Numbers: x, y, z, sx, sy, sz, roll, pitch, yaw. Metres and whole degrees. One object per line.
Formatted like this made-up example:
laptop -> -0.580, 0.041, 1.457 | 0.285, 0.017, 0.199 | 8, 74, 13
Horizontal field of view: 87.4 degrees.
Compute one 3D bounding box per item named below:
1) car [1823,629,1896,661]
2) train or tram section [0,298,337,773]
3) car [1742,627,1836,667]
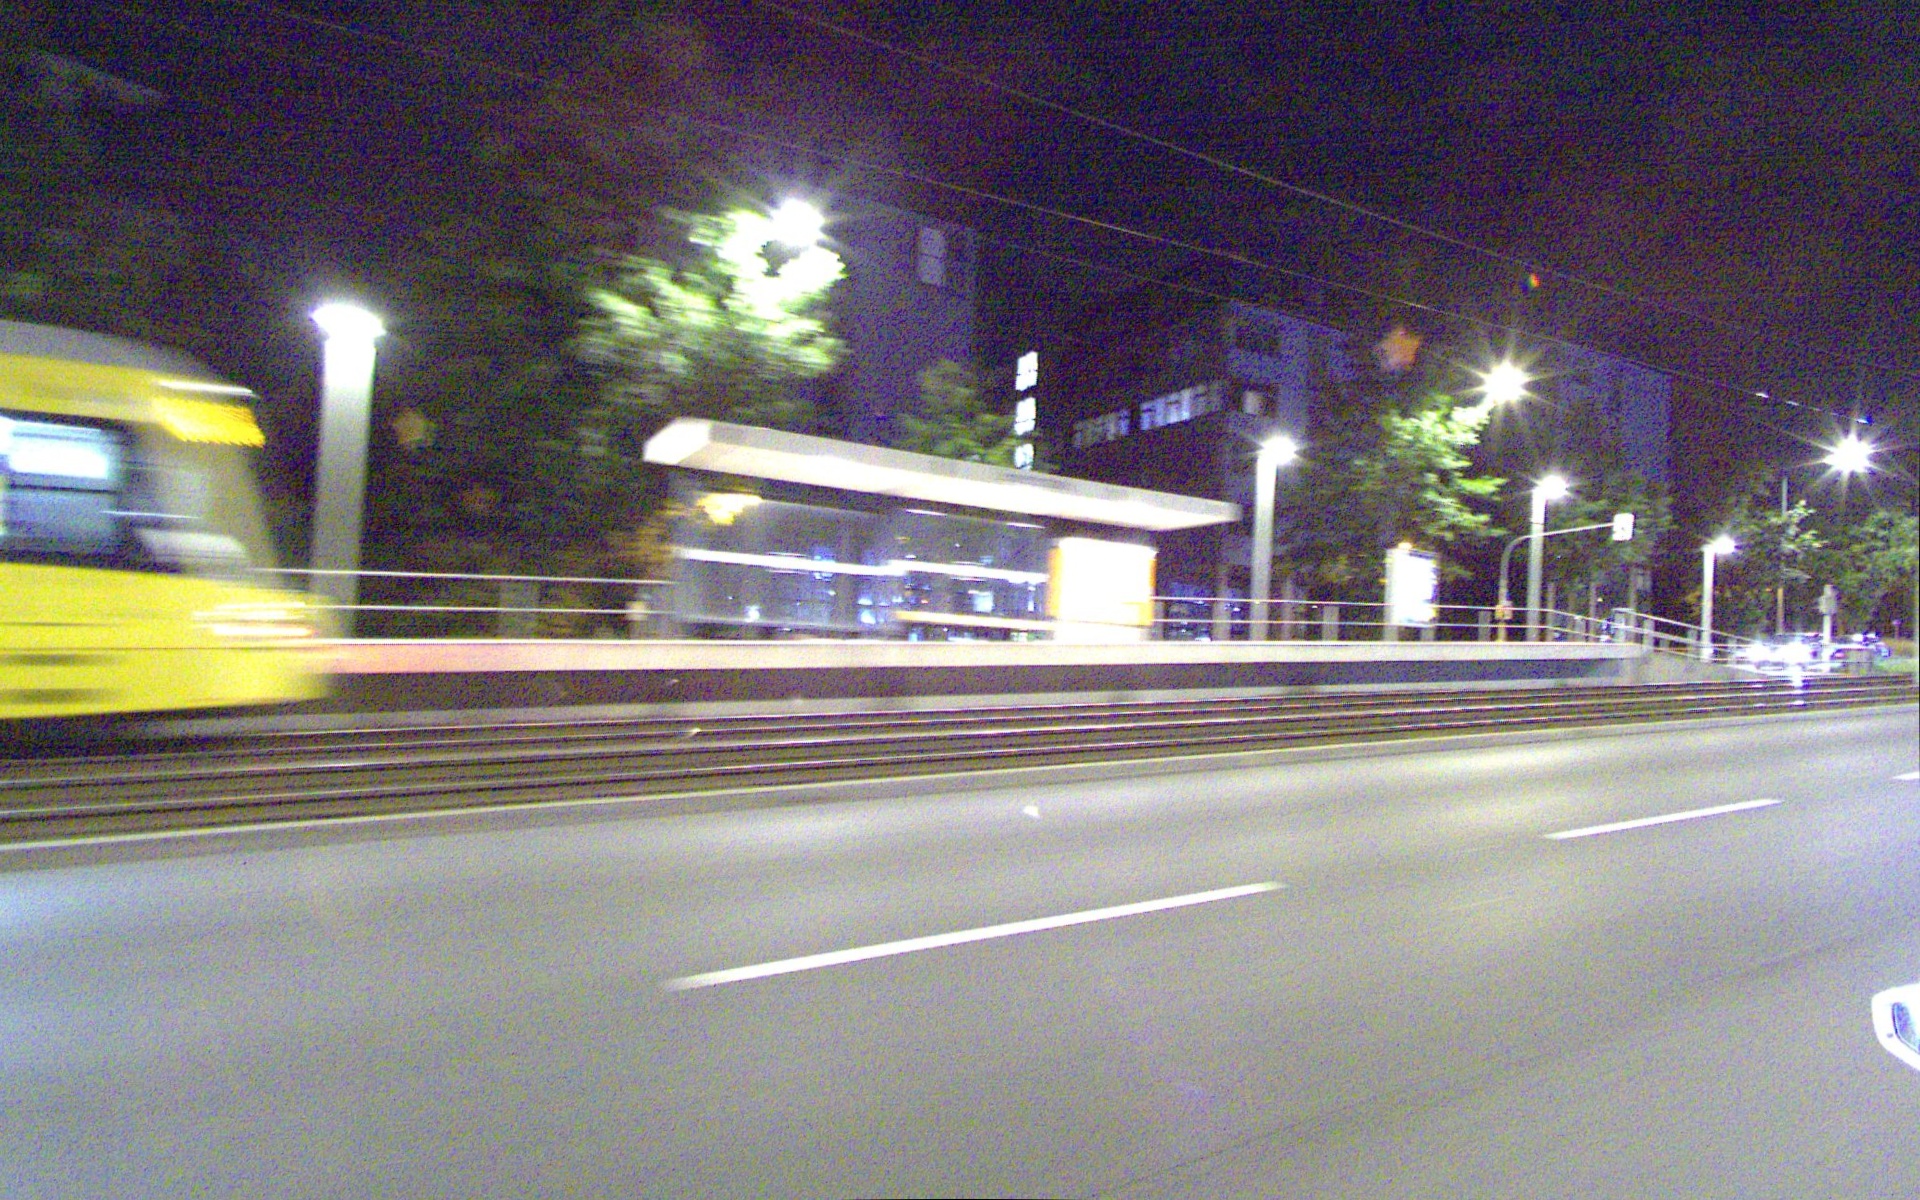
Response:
car -> 46.408, 2.326, 51.822 | 3.864, 1.536, 1.652 | 2, -1, -30
train or tram section -> -14.574, -0.688, 5.822 | 18.451, 3.878, 2.745 | 2, -1, -30
car -> 34.160, 1.939, 41.360 | 4.129, 1.517, 1.775 | 3, -2, -32
